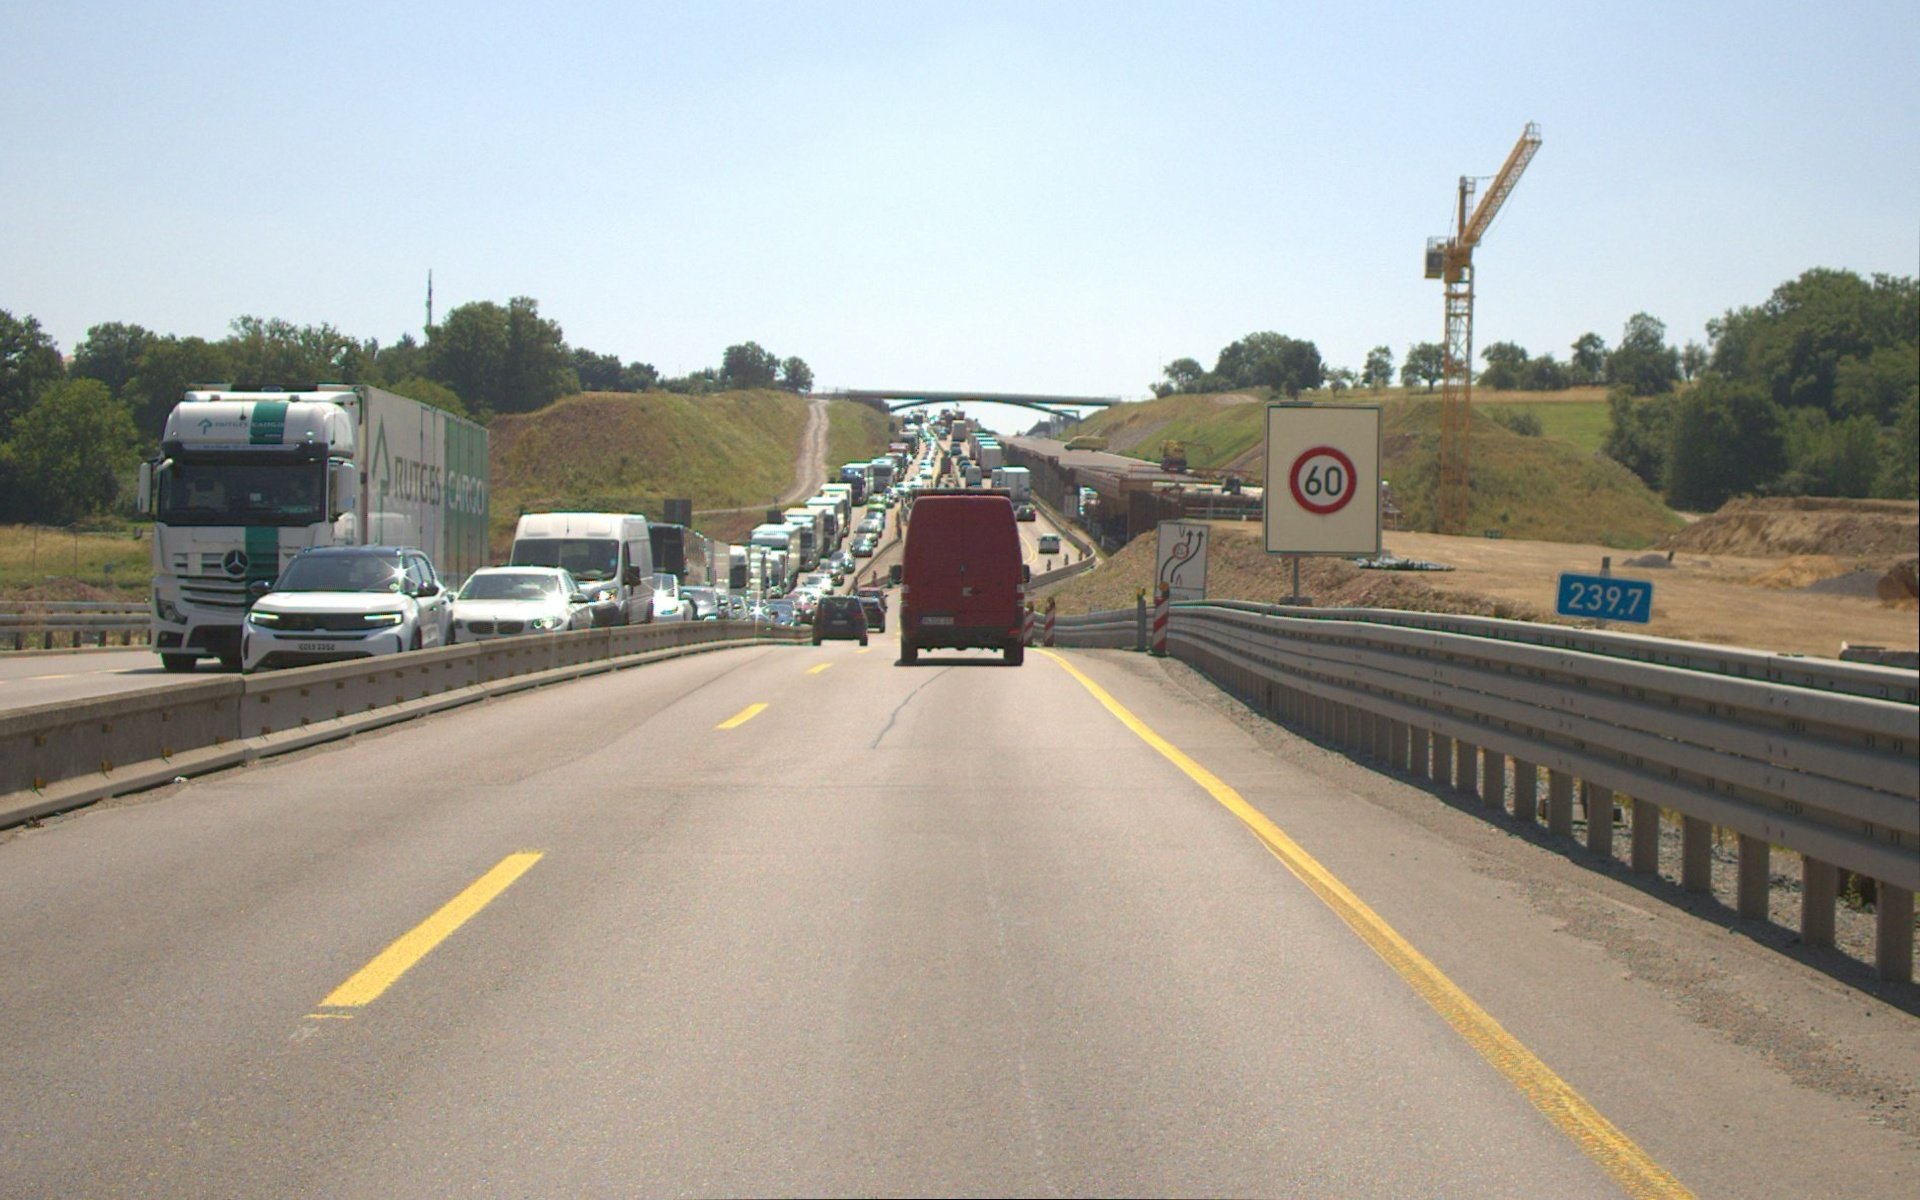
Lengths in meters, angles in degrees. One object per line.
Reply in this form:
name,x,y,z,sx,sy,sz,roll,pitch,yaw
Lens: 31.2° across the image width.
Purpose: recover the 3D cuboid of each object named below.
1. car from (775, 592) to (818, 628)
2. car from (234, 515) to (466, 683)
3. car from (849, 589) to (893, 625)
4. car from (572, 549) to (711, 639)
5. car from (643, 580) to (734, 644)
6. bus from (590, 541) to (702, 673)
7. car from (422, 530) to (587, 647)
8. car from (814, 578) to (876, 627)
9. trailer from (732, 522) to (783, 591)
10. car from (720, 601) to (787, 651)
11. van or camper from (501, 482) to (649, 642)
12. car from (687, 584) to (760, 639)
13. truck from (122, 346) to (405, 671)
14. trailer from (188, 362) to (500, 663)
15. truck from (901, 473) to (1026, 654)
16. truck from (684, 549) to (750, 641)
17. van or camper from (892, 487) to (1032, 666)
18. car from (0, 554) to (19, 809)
car,-8.110,0.482,170.772,1.993,1.626,4.758,2,1,-2
car,-6.469,-0.048,36.864,1.756,1.641,4.156,2,1,-1
car,-4.158,0.328,161.362,2.012,1.539,4.133,2,1,-1
car,-6.714,-0.164,73.151,2.371,1.720,5.781,2,1,0
car,-6.695,0.276,85.127,1.882,1.427,5.125,2,1,-1
bus,-10.885,0.120,120.481,2.739,4.249,14.477,2,1,-1
car,-6.367,-0.204,48.515,1.993,1.493,4.976,2,1,-5
car,-3.838,0.066,114.386,2.012,1.540,4.133,1,1,-2
trailer,-13.003,-2.800,221.130,2.595,4.242,12.468,1,1,0
car,-6.788,0.839,113.360,1.918,1.418,5.091,3,1,-1
van or camper,-6.518,-0.678,58.859,2.218,2.503,6.534,2,1,-5
car,-6.949,0.326,101.369,1.838,1.439,4.930,2,1,-1
truck,-9.917,-1.293,49.561,2.806,4.377,6.225,0,1,0
trailer,-9.926,-1.282,57.067,2.815,4.415,13.168,0,0,0
truck,0.033,-1.008,93.033,3.020,4.677,6.933,-1,1,-2
truck,-11.342,-0.227,160.276,2.977,4.170,5.875,1,0,-5
van or camper,-0.018,-0.398,55.480,2.029,2.735,4.516,1,1,-2
car,-6.389,0.469,17.548,1.865,1.454,4.607,2,1,0
